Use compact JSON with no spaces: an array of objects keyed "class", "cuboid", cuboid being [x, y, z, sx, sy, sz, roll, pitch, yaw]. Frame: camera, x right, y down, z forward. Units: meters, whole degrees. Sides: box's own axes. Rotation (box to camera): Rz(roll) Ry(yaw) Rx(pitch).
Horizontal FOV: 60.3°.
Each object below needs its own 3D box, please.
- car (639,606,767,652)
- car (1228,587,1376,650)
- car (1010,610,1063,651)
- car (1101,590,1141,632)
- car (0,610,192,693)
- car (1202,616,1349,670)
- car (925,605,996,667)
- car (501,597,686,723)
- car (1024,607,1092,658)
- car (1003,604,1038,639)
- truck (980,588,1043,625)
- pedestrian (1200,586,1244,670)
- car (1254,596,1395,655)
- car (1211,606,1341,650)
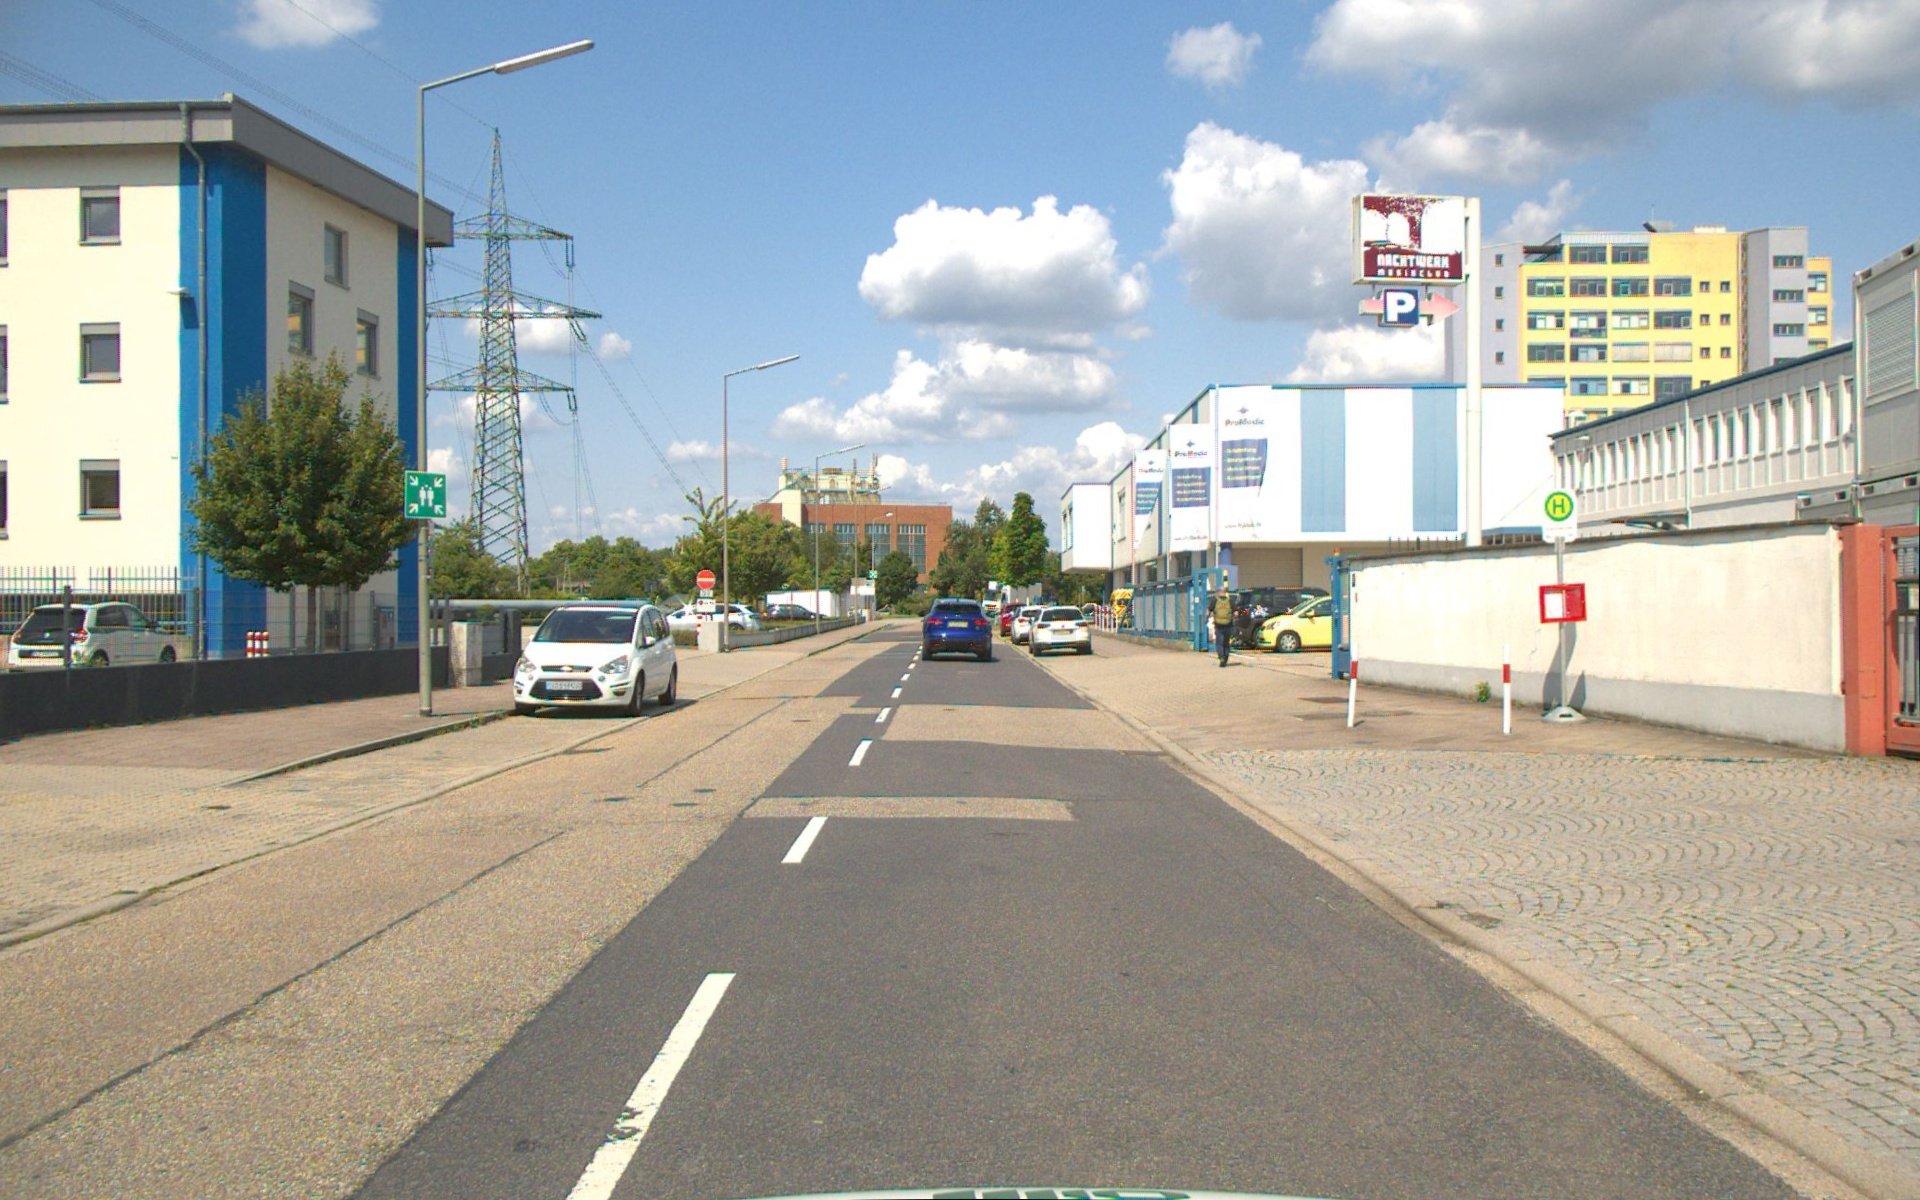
[{"class":"car","cuboid":[-9.861,1.111,63.822,4.661,1.630,1.998,-2,-1,-4]},{"class":"car","cuboid":[9.433,0.519,45.852,3.729,1.710,1.791,0,-1,-1]},{"class":"car","cuboid":[2.953,1.177,64.731,1.798,1.547,4.460,0,-1,-1]},{"class":"car","cuboid":[9.844,0.699,101.345,1.884,2.507,5.259,0,-1,0]},{"class":"car","cuboid":[-17.072,0.985,32.608,1.833,1.533,3.760,-1,-1,6]},{"class":"car","cuboid":[9.170,1.241,48.313,3.905,1.445,2.000,-1,0,0]},{"class":"car","cuboid":[-0.015,0.986,46.215,1.871,1.621,4.700,0,-1,-1]},{"class":"car","cuboid":[-5.518,0.864,25.518,1.829,1.738,4.752,1,-1,-1]},{"class":"car","cuboid":[3.053,1.004,52.248,1.829,1.547,4.597,0,-1,-1]},{"class":"car","cuboid":[3.022,1.075,83.648,1.718,1.679,4.678,0,-1,2]},{"class":"truck","cuboid":[5.367,0.640,170.171,2.278,3.630,9.349,1,1,30]},{"class":"pedestrian","cuboid":[5.678,0.603,35.889,0.754,1.787,0.787,-2,-1,-1]},{"class":"car","cuboid":[9.552,0.667,43.512,3.334,1.516,1.791,0,-1,-1]},{"class":"car","cuboid":[11.103,0.967,58.283,4.191,1.445,2.000,-1,0,0]}]
